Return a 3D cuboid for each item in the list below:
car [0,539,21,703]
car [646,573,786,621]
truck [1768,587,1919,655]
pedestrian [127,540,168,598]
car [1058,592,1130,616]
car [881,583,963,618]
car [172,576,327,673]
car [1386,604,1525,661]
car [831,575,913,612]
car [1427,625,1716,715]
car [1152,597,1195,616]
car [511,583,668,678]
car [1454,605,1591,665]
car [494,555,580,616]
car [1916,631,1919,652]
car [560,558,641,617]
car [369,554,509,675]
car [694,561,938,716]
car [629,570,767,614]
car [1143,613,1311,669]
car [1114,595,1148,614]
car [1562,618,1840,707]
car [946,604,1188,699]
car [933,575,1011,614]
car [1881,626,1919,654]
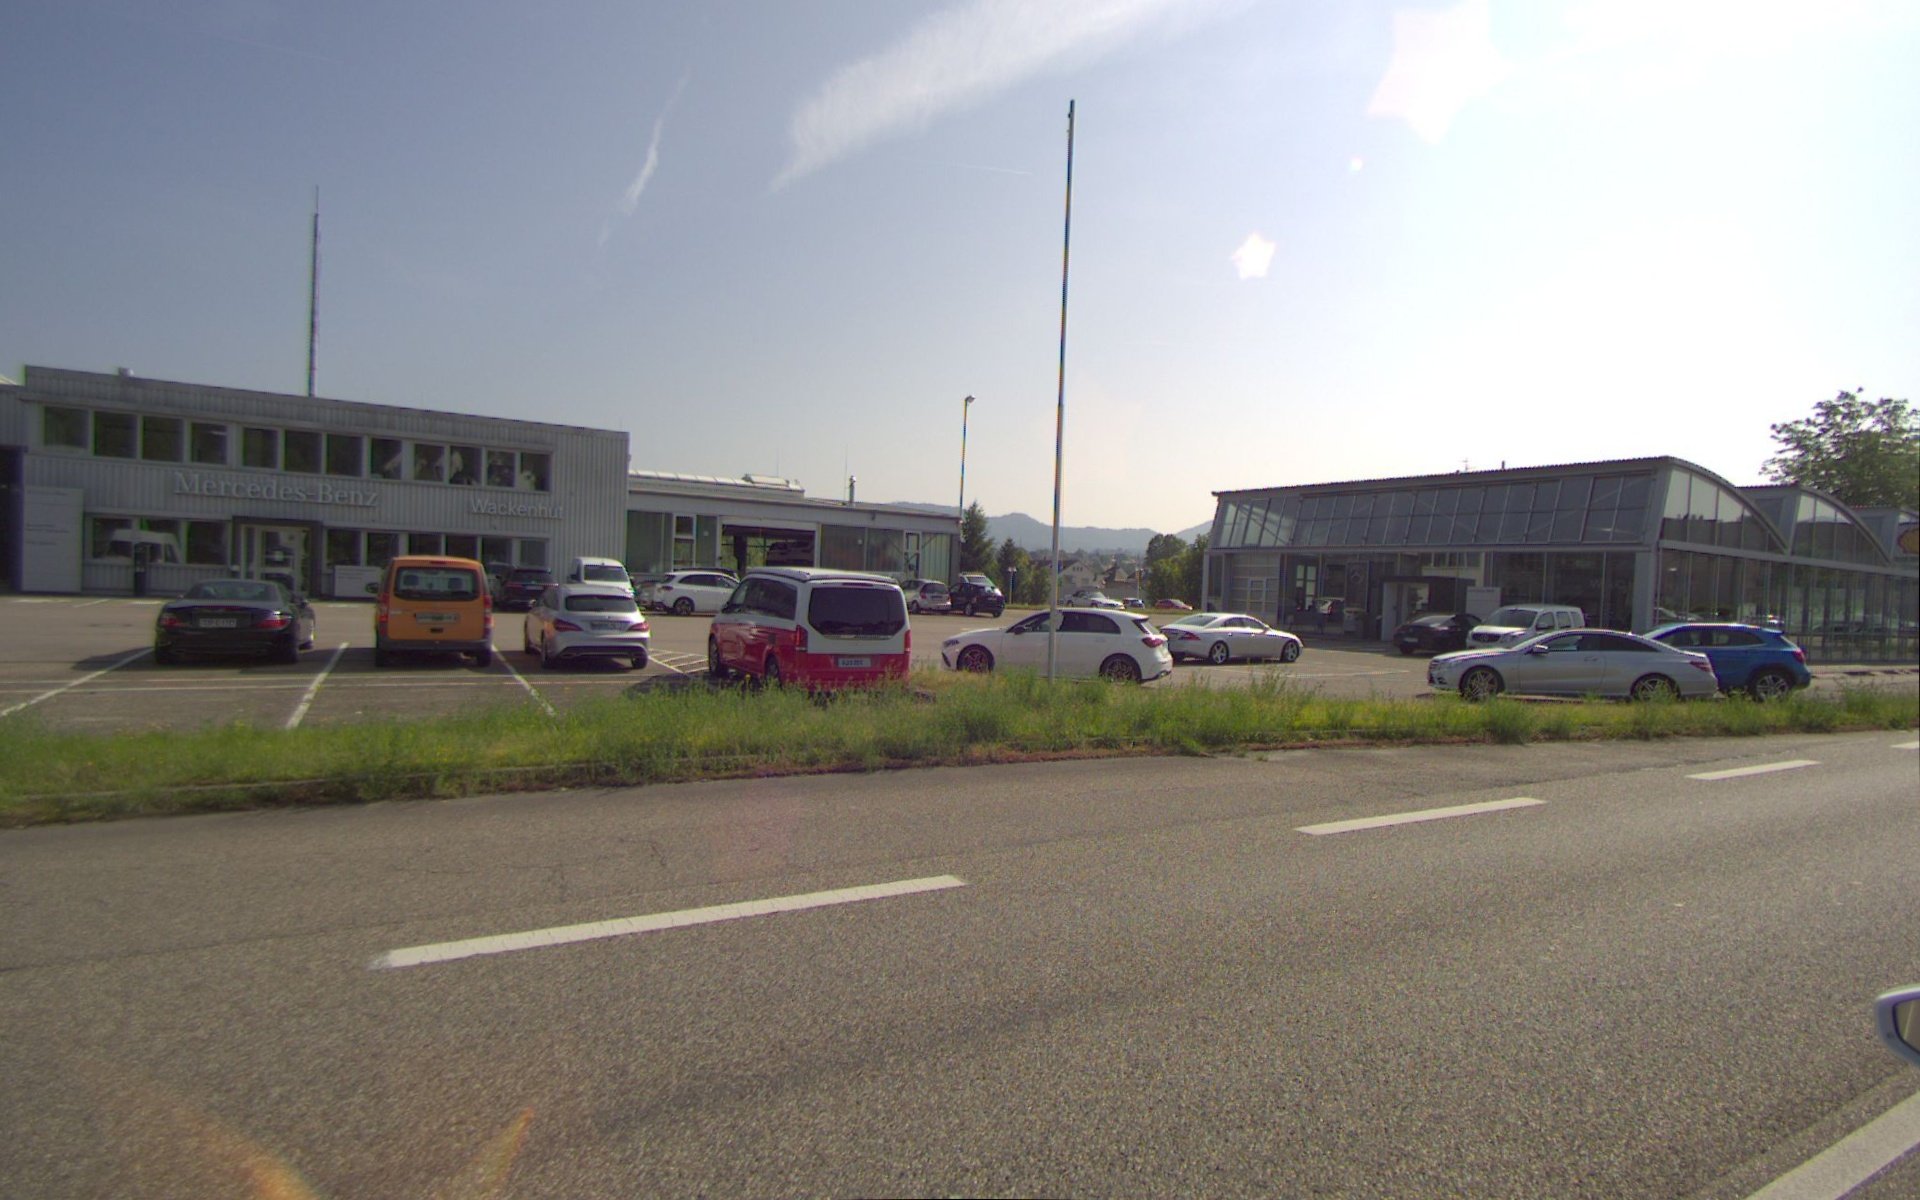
[{"bbox_3d":[-11.144,0.302,9.653,2.119,1.883,4.646,1,2,-31],"label":"car"},{"bbox_3d":[-8.703,-0.102,35.914,4.516,1.512,1.796,2,0,-31],"label":"car"},{"bbox_3d":[52.138,1.214,58.065,8.046,3.604,2.807,2,1,6],"label":"truck"},{"bbox_3d":[-24.805,-0.933,30.665,0.841,1.712,0.815,2,0,-33],"label":"pedestrian"},{"bbox_3d":[7.945,0.212,59.895,1.884,1.307,4.798,1,1,-26],"label":"car"},{"bbox_3d":[-1.875,-0.004,47.992,2.182,1.587,4.798,0,1,-26],"label":"car"},{"bbox_3d":[-11.941,0.330,17.124,1.779,1.336,4.358,1,2,-31],"label":"car"},{"bbox_3d":[16.529,1.023,33.456,4.882,1.736,1.796,0,1,-31],"label":"car"},{"bbox_3d":[-4.142,-0.337,46.292,2.182,1.587,4.798,0,1,-26],"label":"car"},{"bbox_3d":[11.261,1.236,18.866,4.308,1.386,1.853,1,0,19],"label":"car"},{"bbox_3d":[19.902,0.579,93.721,1.710,1.625,3.967,3,-1,-30],"label":"car"},{"bbox_3d":[-7.027,0.490,18.751,1.944,1.417,4.442,2,2,-31],"label":"car"},{"bbox_3d":[17.633,1.047,31.453,4.356,1.736,1.796,0,1,-30],"label":"car"},{"bbox_3d":[-14.259,-0.491,33.699,2.184,1.879,4.793,0,1,-29],"label":"car"},{"bbox_3d":[70.872,3.072,71.593,1.915,1.519,3.718,2,1,-38],"label":"car"},{"bbox_3d":[-12.589,-0.451,34.953,1.929,1.879,4.793,0,1,-29],"label":"car"},{"bbox_3d":[-9.499,0.158,18.122,1.978,1.832,4.357,1,3,-31],"label":"car"},{"bbox_3d":[-2.505,0.463,16.201,2.203,2.008,4.767,1,3,-31],"label":"car"},{"bbox_3d":[-9.935,-0.290,38.203,4.775,1.587,1.796,0,1,-31],"label":"car"},{"bbox_3d":[7.630,1.117,28.576,4.775,1.405,1.796,0,1,-31],"label":"car"},{"bbox_3d":[15.762,0.435,92.647,1.699,1.625,3.992,3,-1,-11],"label":"car"},{"bbox_3d":[14.946,1.209,20.570,4.149,1.527,1.985,1,0,19],"label":"car"},{"bbox_3d":[2.028,0.896,18.841,4.147,1.422,1.898,3,1,19],"label":"car"},{"bbox_3d":[0.603,-0.339,55.431,2.185,2.050,4.791,0,1,-30],"label":"car"},{"bbox_3d":[62.057,2.641,64.316,1.916,1.677,4.314,2,1,-40],"label":"car"}]
